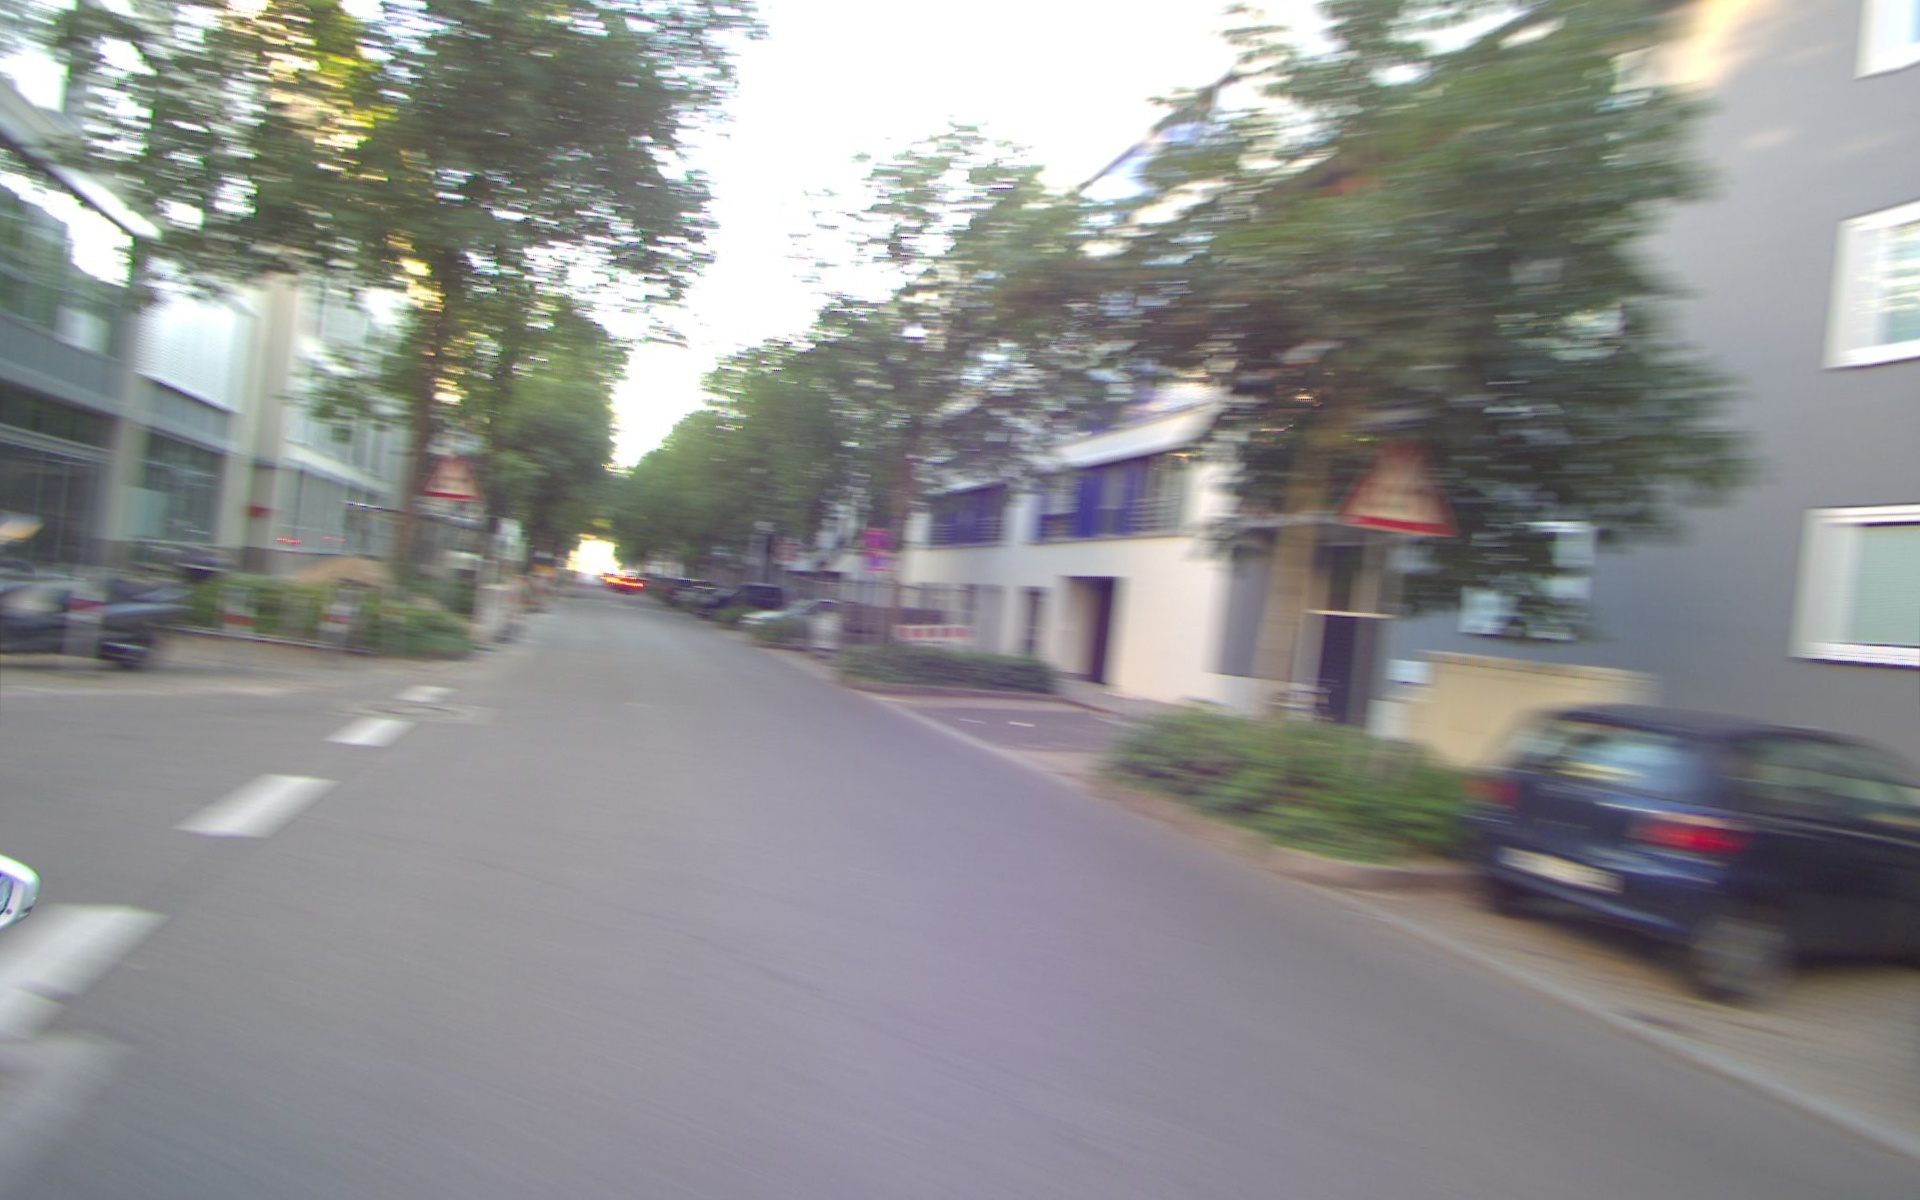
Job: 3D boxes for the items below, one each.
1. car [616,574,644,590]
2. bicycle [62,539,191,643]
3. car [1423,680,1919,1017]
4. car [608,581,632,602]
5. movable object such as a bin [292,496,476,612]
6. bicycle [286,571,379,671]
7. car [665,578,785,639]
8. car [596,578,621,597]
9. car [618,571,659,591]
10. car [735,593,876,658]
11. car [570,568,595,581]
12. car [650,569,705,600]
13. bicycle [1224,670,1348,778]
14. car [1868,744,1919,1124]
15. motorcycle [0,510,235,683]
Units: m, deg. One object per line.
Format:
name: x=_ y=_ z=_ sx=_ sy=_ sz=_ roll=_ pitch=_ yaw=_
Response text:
car: x=-50.349 y=-2.744 z=153.475 sx=3.944 sy=2.038 sz=1.991 roll=7 pitch=-1 yaw=-20
bicycle: x=-10.172 y=-0.132 z=12.350 sx=0.595 sy=1.132 sz=1.790 roll=7 pitch=0 yaw=-21
car: x=5.011 y=1.479 z=6.524 sx=3.314 sy=1.545 sz=1.738 roll=5 pitch=0 yaw=-21
car: x=-27.311 y=-0.673 z=80.704 sx=1.485 sy=1.433 sz=3.695 roll=7 pitch=-1 yaw=-21
movable object such as a bin: x=-14.731 y=-1.142 z=26.014 sx=3.630 sy=2.361 sz=2.569 roll=7 pitch=-1 yaw=-24
bicycle: x=-8.128 y=0.242 z=13.094 sx=0.595 sy=1.132 sz=1.790 roll=7 pitch=0 yaw=-21
car: x=-10.611 y=0.405 z=45.448 sx=4.921 sy=2.112 sz=1.729 roll=8 pitch=0 yaw=-22
car: x=-32.554 y=-1.138 z=93.117 sx=1.797 sy=1.449 sz=3.914 roll=8 pitch=-1 yaw=-23
car: x=-35.821 y=-2.123 z=112.070 sx=3.951 sy=1.616 sz=1.988 roll=8 pitch=-1 yaw=-25
car: x=-5.262 y=0.868 z=34.246 sx=4.388 sy=1.610 sz=1.622 roll=7 pitch=-1 yaw=-20
car: x=-71.196 y=-4.744 z=189.823 sx=3.957 sy=1.937 sz=1.764 roll=8 pitch=-1 yaw=-30
car: x=-23.027 y=-1.275 z=81.980 sx=3.947 sy=2.038 sz=1.990 roll=8 pitch=-1 yaw=-23
bicycle: x=4.218 y=1.586 z=13.128 sx=0.717 sy=1.187 sz=1.493 roll=2 pitch=1 yaw=-21
car: x=6.207 y=1.667 z=4.222 sx=4.238 sy=1.526 sz=1.862 roll=8 pitch=-1 yaw=-23
motorcycle: x=-8.262 y=-0.024 z=9.237 sx=0.788 sy=1.458 sz=2.377 roll=7 pitch=-1 yaw=28
